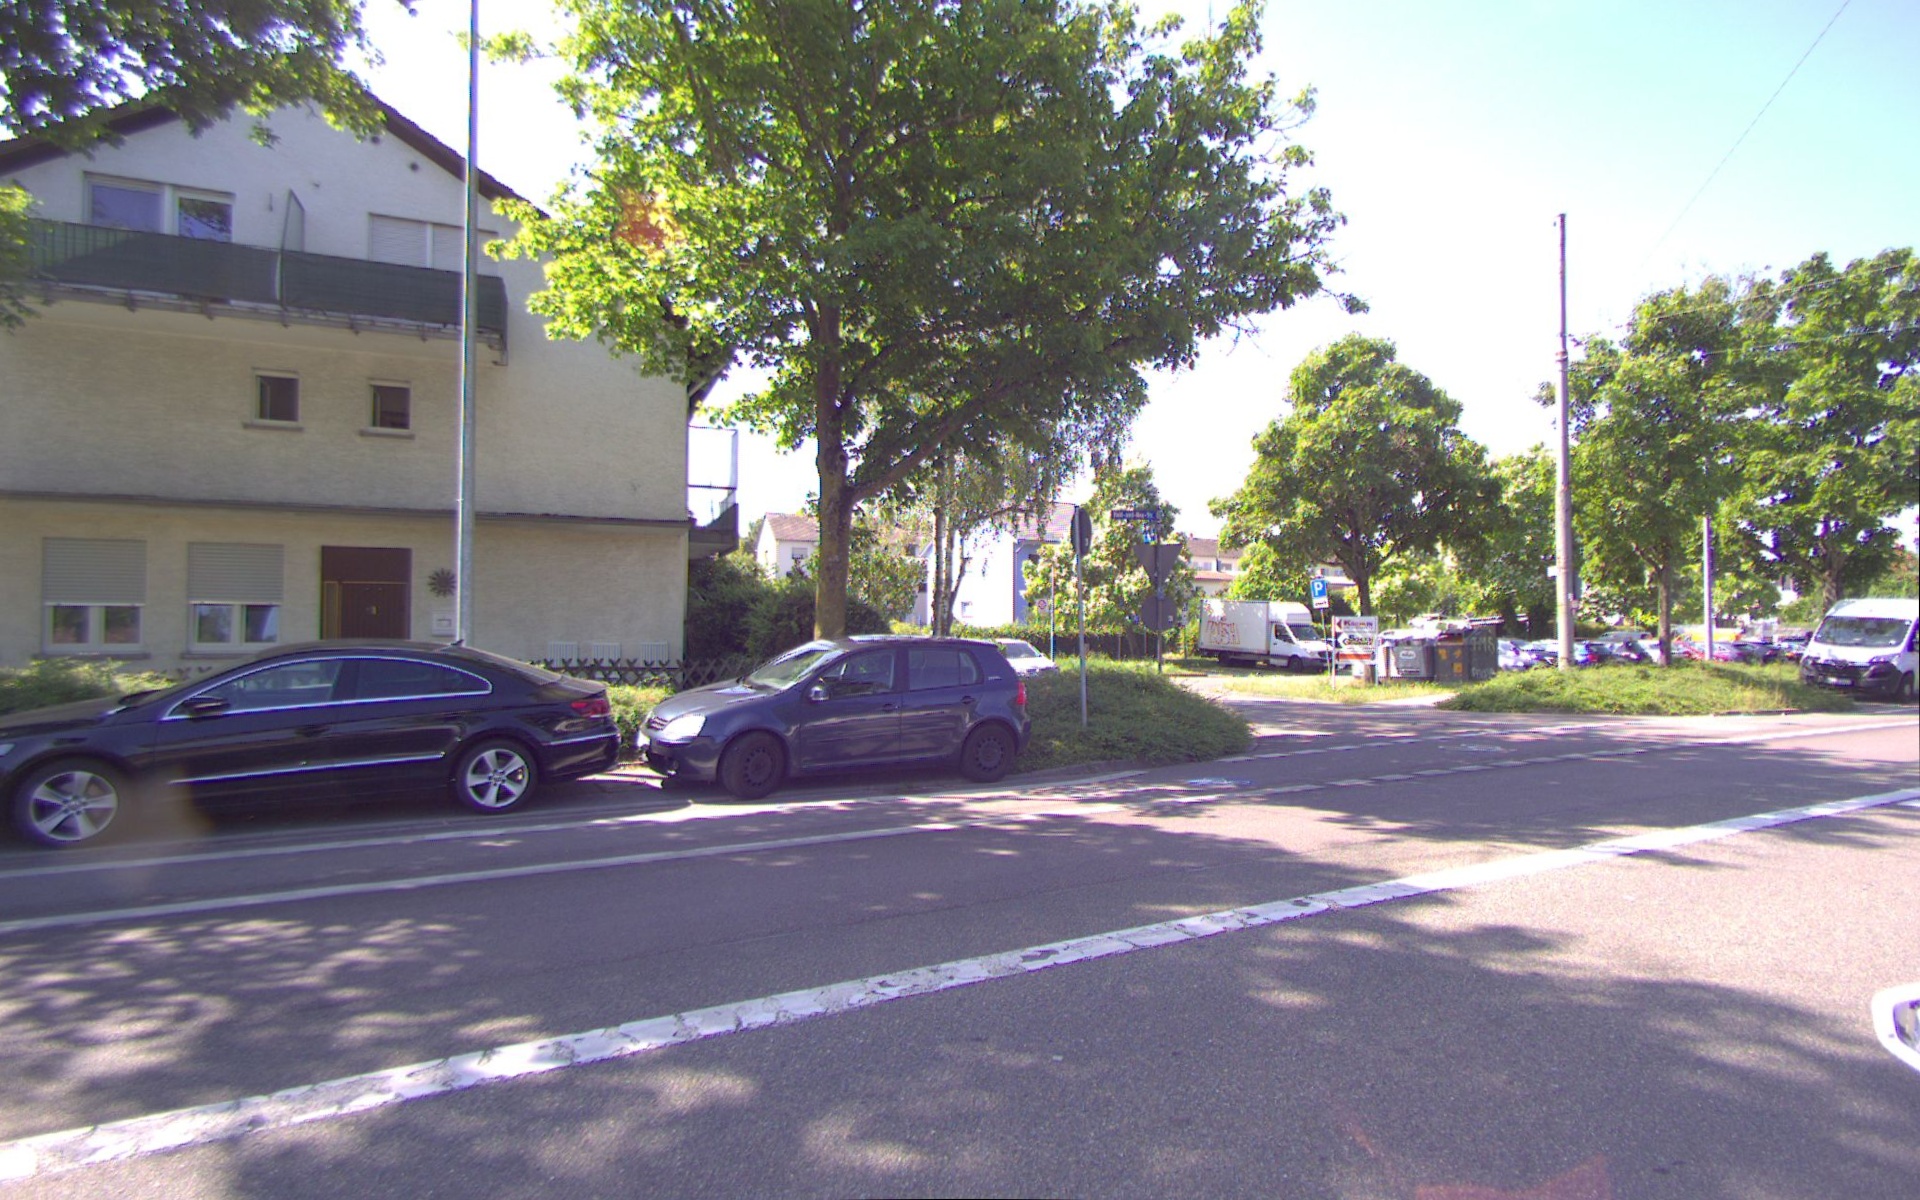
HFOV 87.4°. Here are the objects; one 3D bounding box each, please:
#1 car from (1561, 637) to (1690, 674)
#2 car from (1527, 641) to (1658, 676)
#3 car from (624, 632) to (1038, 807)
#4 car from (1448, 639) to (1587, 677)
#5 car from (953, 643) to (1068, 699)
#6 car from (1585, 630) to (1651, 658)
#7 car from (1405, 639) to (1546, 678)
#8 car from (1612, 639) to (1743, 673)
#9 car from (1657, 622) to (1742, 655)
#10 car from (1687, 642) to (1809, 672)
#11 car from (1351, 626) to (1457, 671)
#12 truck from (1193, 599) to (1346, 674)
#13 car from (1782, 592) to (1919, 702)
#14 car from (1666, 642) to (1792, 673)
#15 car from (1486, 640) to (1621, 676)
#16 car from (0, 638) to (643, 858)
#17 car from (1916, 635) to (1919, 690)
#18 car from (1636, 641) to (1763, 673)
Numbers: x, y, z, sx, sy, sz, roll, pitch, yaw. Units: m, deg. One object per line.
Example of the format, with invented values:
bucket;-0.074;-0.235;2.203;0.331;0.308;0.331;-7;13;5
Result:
car;26.598;2.189;40.265;1.748;1.368;3.973;1;-2;-27
car;24.363;2.211;38.833;1.748;1.241;3.973;1;-2;-27
car;-1.296;1.116;10.493;3.956;1.470;1.634;2;0;-29
car;19.502;1.996;35.288;1.751;1.241;3.967;1;-2;-31
car;1.346;1.949;28.436;1.687;1.437;3.979;1;-2;-23
car;44.874;2.980;68.543;1.535;1.901;3.406;1;-2;-31
car;17.384;1.944;34.054;1.751;1.241;3.967;1;-2;-31
car;29.039;2.253;40.782;1.748;1.281;3.973;1;-2;-27
car;50.517;2.634;68.697;1.981;2.040;4.228;2;0;-35
car;35.200;2.515;44.976;1.748;1.241;3.973;1;-2;-27
car;22.884;2.481;51.964;1.980;2.040;4.663;2;0;-34
truck;14.213;1.576;46.729;2.206;3.059;7.103;1;1;-31
car;24.008;1.149;25.892;6.227;2.534;2.050;1;1;-28
car;33.322;2.446;43.630;1.748;1.241;3.973;1;-2;-27
car;21.759;2.100;36.957;1.748;1.241;3.973;1;-2;-27
car;-5.229;1.044;8.309;4.727;1.398;1.682;1;-1;-31
car;29.362;1.789;28.744;4.148;1.536;1.835;1;-2;-30
car;31.091;2.355;42.368;1.748;1.241;3.973;1;-2;-27
